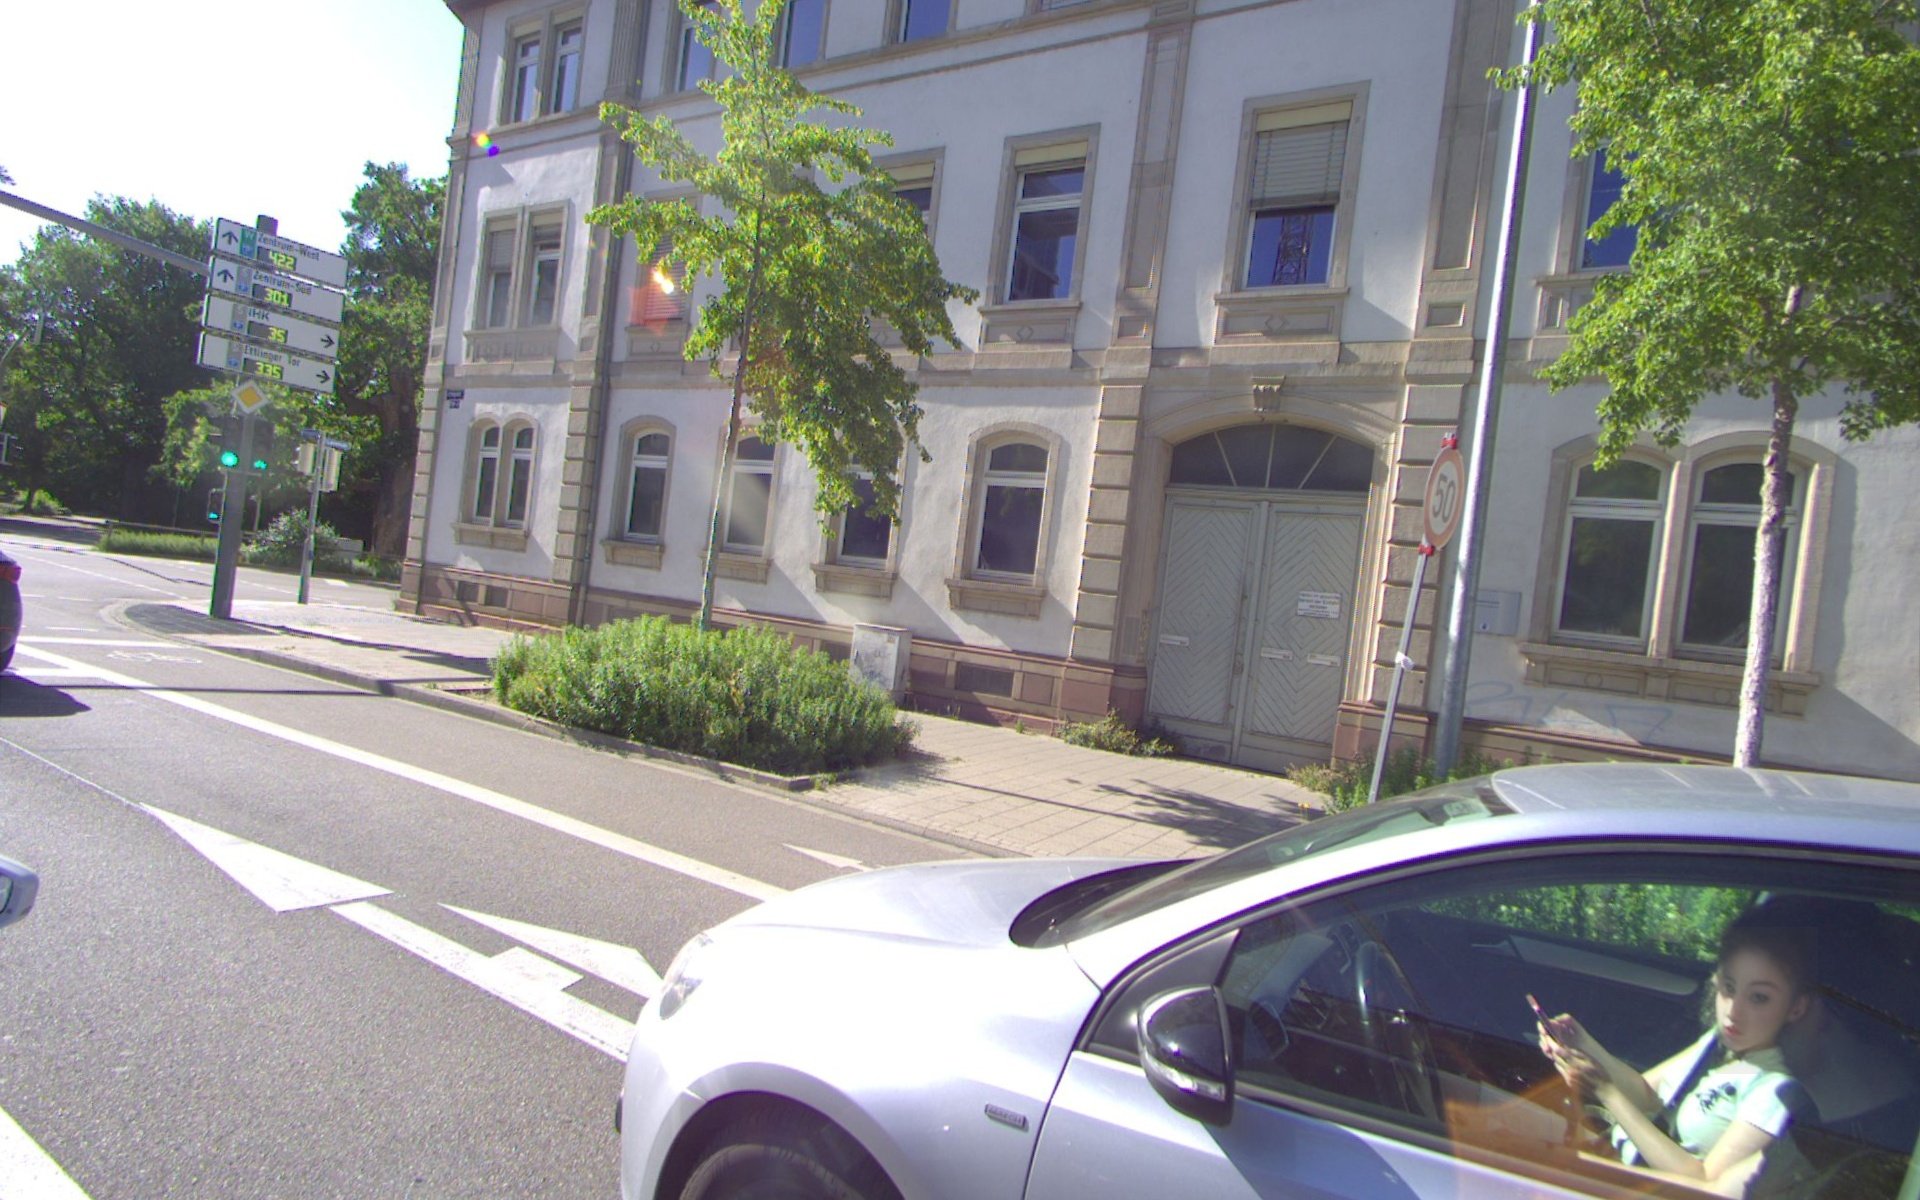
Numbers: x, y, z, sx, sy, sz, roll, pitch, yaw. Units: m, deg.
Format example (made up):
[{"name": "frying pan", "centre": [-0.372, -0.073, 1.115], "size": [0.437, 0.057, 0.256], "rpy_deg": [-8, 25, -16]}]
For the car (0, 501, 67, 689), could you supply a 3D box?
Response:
[{"name": "car", "centre": [-9.326, -0.280, 8.235], "size": [3.784, 1.444, 1.796], "rpy_deg": [7, -2, 30]}]

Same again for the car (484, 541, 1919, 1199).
[{"name": "car", "centre": [1.183, 0.932, 1.819], "size": [3.938, 1.545, 1.753], "rpy_deg": [7, -1, 32]}]
